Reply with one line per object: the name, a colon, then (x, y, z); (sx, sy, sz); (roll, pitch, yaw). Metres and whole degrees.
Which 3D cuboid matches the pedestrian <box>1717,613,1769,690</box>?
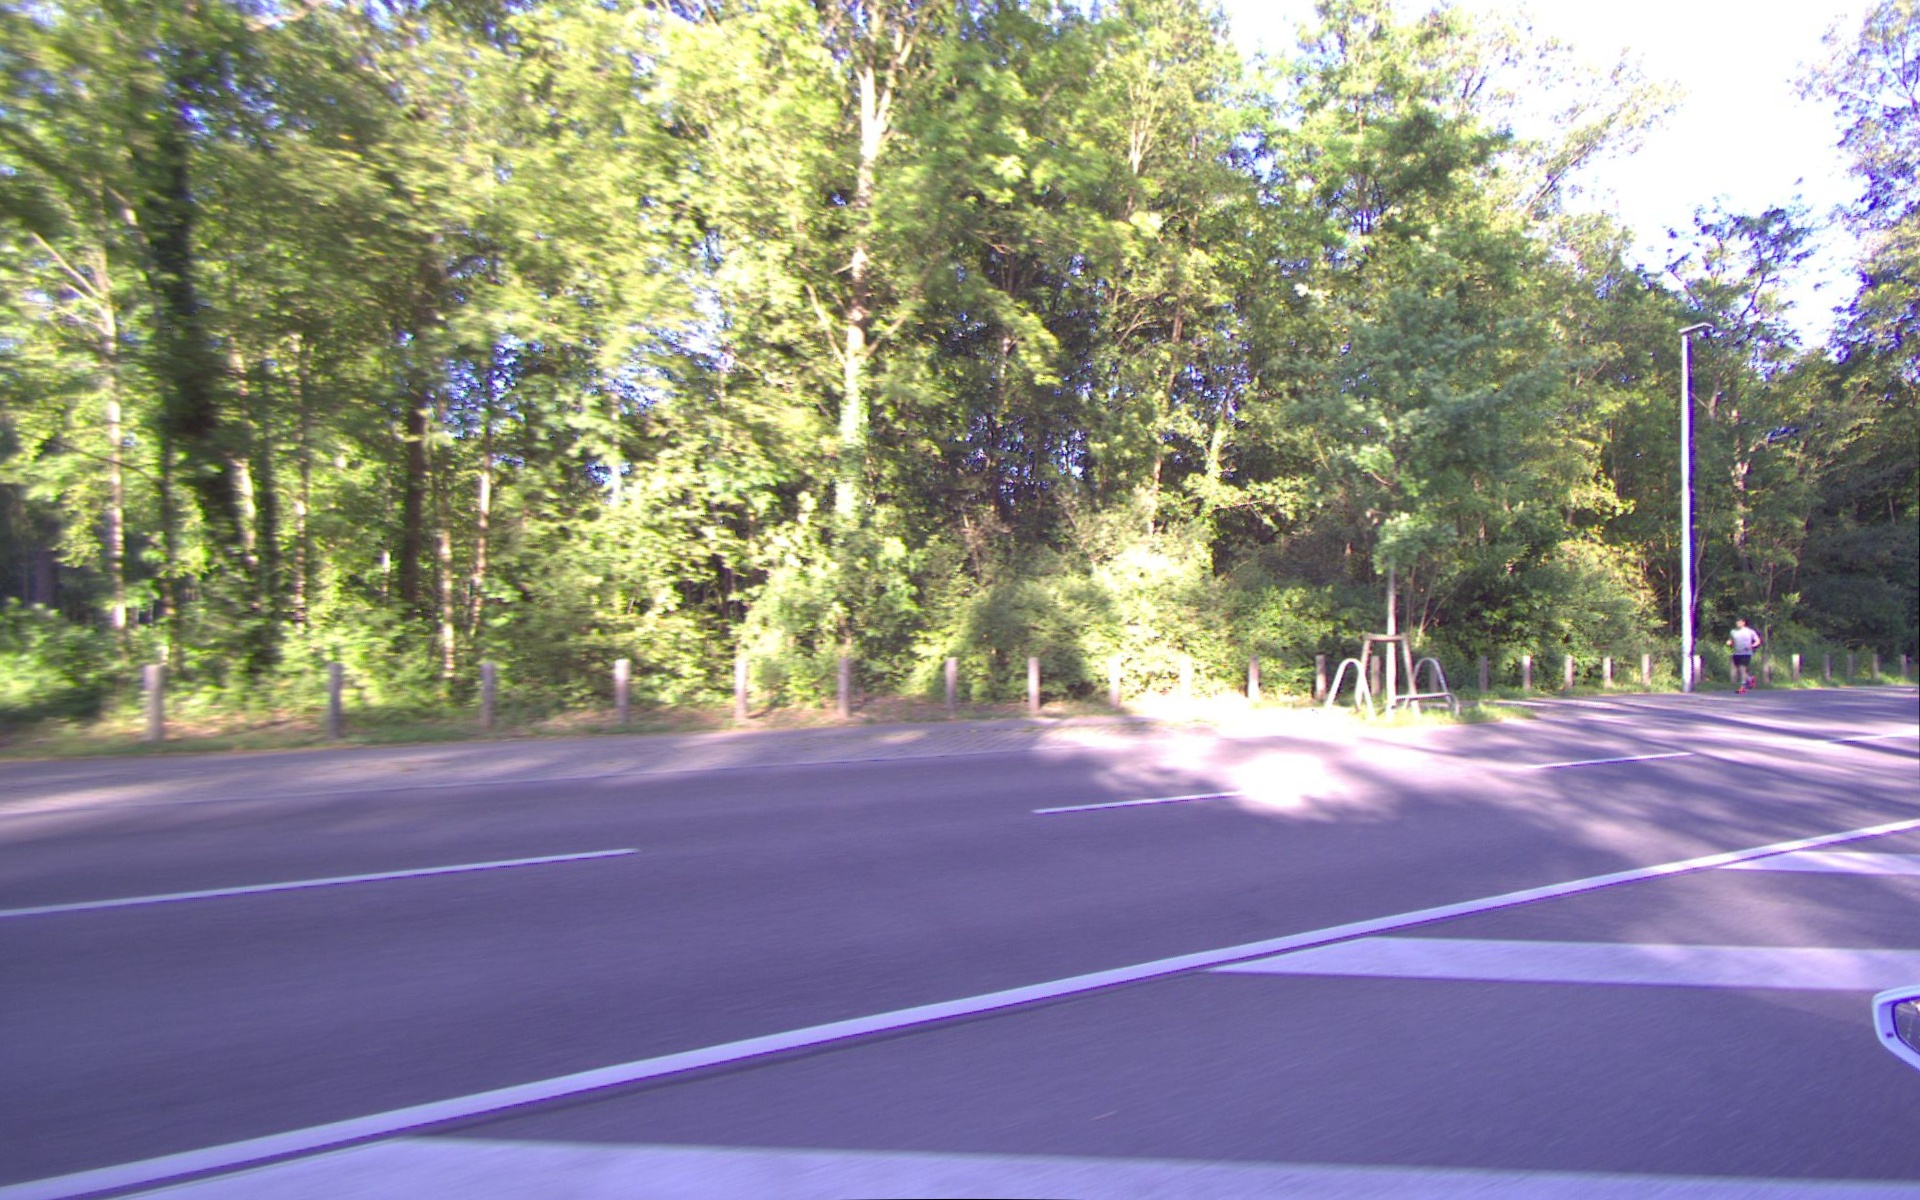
pedestrian: (19.038, 1.241, 24.418); (0.761, 1.836, 0.775); (1, -1, -30)
